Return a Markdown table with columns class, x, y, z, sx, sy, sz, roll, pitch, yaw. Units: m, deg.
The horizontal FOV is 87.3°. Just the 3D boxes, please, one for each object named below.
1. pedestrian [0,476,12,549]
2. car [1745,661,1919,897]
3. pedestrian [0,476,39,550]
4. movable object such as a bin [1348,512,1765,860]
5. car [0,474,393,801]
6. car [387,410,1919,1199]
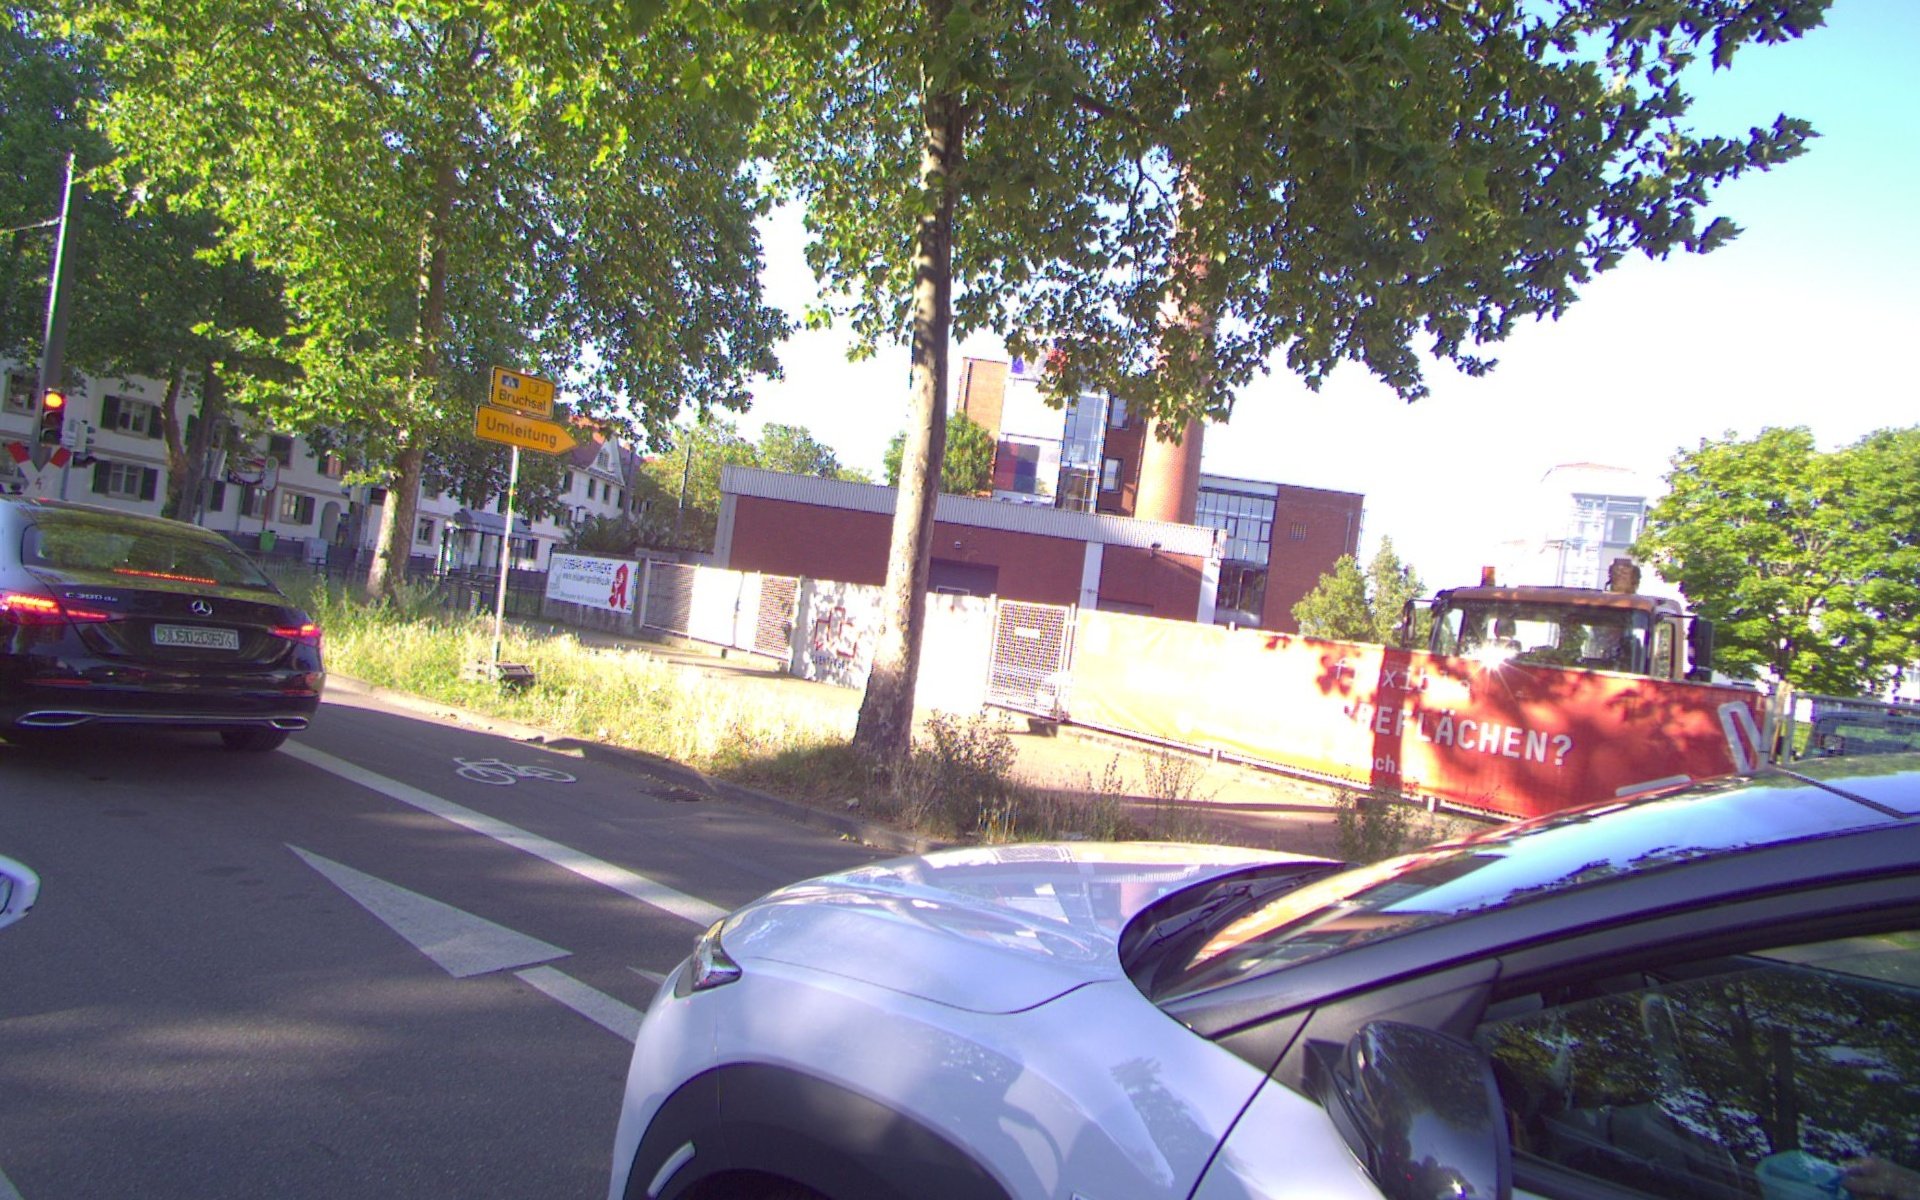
| class | x | y | z | sx | sy | sz | roll | pitch | yaw |
| --- | --- | --- | --- | --- | --- | --- | --- | --- | --- |
| pedestrian | -26.123 | -2.398 | 26.916 | 0.825 | 1.940 | 0.707 | 7 | -1 | 28 |
| car | 9.568 | 1.820 | 10.152 | 2.016 | 1.849 | 4.583 | 6 | -3 | 44 |
| pedestrian | -26.526 | -2.434 | 28.136 | 0.825 | 1.940 | 0.707 | 7 | -1 | 28 |
| movable object such as a bin | 7.639 | 1.030 | 12.409 | 3.172 | 3.084 | 6.266 | 6 | -2 | 41 |
| car | -5.954 | 0.026 | 6.692 | 4.309 | 1.508 | 1.893 | 9 | -1 | 33 |
| car | 1.245 | 0.843 | 1.367 | 3.901 | 1.616 | 1.893 | 9 | -1 | 33 |
